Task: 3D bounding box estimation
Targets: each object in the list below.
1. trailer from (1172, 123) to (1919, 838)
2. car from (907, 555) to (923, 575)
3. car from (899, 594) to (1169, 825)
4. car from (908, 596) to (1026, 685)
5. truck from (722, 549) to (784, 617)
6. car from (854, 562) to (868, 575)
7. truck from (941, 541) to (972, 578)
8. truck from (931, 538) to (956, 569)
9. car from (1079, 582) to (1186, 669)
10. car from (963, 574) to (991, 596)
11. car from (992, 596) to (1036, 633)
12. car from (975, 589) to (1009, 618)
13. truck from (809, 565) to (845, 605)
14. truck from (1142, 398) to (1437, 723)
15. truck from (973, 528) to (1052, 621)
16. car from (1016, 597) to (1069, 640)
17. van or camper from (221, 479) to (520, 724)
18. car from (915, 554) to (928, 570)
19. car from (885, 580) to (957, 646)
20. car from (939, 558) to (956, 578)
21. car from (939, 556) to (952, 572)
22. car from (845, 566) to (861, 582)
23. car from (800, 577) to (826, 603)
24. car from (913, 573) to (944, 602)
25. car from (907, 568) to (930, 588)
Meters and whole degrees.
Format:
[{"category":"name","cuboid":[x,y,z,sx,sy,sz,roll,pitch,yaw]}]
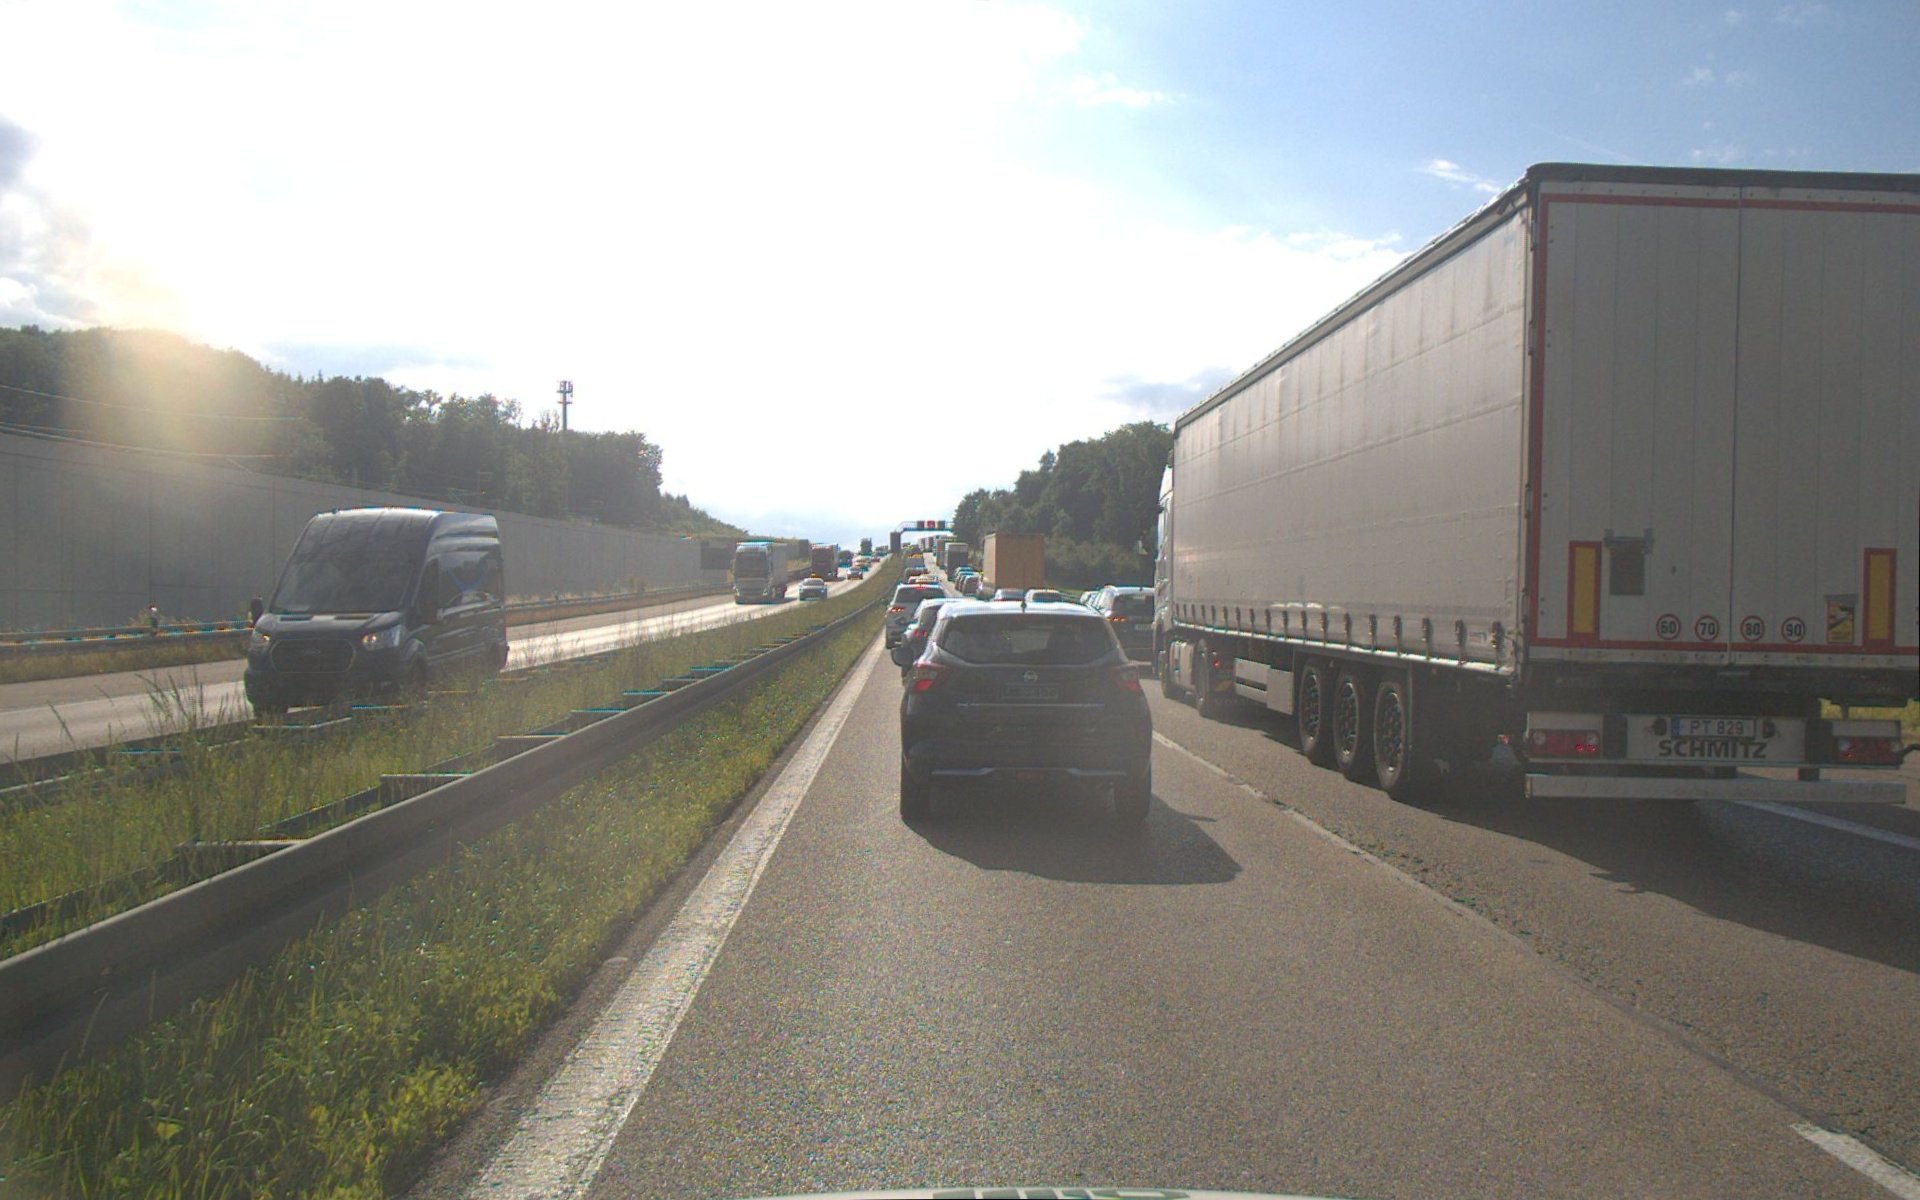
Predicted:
[{"category":"trailer","cuboid":[4.595,-0.564,16.194,3.067,4.081,13.362,1,-1,-1]},{"category":"car","cuboid":[-5.050,-3.942,185.499,1.835,2.196,5.210,0,3,-2]},{"category":"car","cuboid":[0.430,0.708,12.759,1.737,1.476,4.231,0,0,-1]},{"category":"car","cuboid":[0.062,0.633,27.927,1.835,1.381,4.231,0,0,-1]},{"category":"truck","cuboid":[-14.731,-1.214,118.644,3.230,4.657,12.436,0,0,-2]},{"category":"car","cuboid":[-14.006,-4.461,234.177,1.708,1.735,4.232,1,2,-1]},{"category":"truck","cuboid":[-0.540,-5.221,214.684,3.395,4.657,12.435,1,1,-3]},{"category":"truck","cuboid":[-2.577,-7.302,260.394,3.395,4.657,12.435,1,1,-3]},{"category":"car","cuboid":[3.422,0.491,33.509,1.663,1.639,4.436,0,0,0]},{"category":"car","cuboid":[1.352,-1.182,132.128,1.837,1.673,4.228,0,1,-5]},{"category":"car","cuboid":[2.508,0.640,77.859,1.835,1.673,4.231,0,0,-1]},{"category":"car","cuboid":[1.913,0.197,100.969,1.836,1.673,4.230,0,0,-2]},{"category":"truck","cuboid":[-15.804,-1.779,196.939,3.229,4.634,12.441,0,0,0]},{"category":"truck","cuboid":[4.467,-0.462,23.538,3.070,4.086,5.162,1,-1,-1]},{"category":"truck","cuboid":[2.713,-1.209,89.636,3.231,4.657,12.433,1,-1,-3]},{"category":"car","cuboid":[3.304,0.733,66.674,1.835,1.673,4.231,0,0,-1]},{"category":"van or camper","cuboid":[-7.769,0.046,22.552,2.048,2.869,5.893,1,-1,-2]},{"category":"car","cuboid":[-5.656,-5.533,240.701,1.835,2.196,5.210,0,3,-2]},{"category":"car","cuboid":[-1.037,0.339,44.054,1.835,1.673,4.231,0,0,-1]},{"category":"car","cuboid":[-1.420,-3.669,189.051,1.835,2.196,5.210,0,3,-2]},{"category":"car","cuboid":[-2.211,-5.338,244.077,1.835,2.196,5.210,0,3,-2]},{"category":"car","cuboid":[-12.592,-3.068,195.185,1.708,1.735,4.231,1,1,-1]},{"category":"car","cuboid":[-10.500,-0.705,118.437,1.709,1.735,4.229,1,-1,-3]},{"category":"car","cuboid":[-1.952,-0.790,101.557,1.835,1.673,4.231,0,1,-1]},{"category":"car","cuboid":[-3.553,-1.859,140.813,1.836,1.673,4.230,0,1,-3]}]
